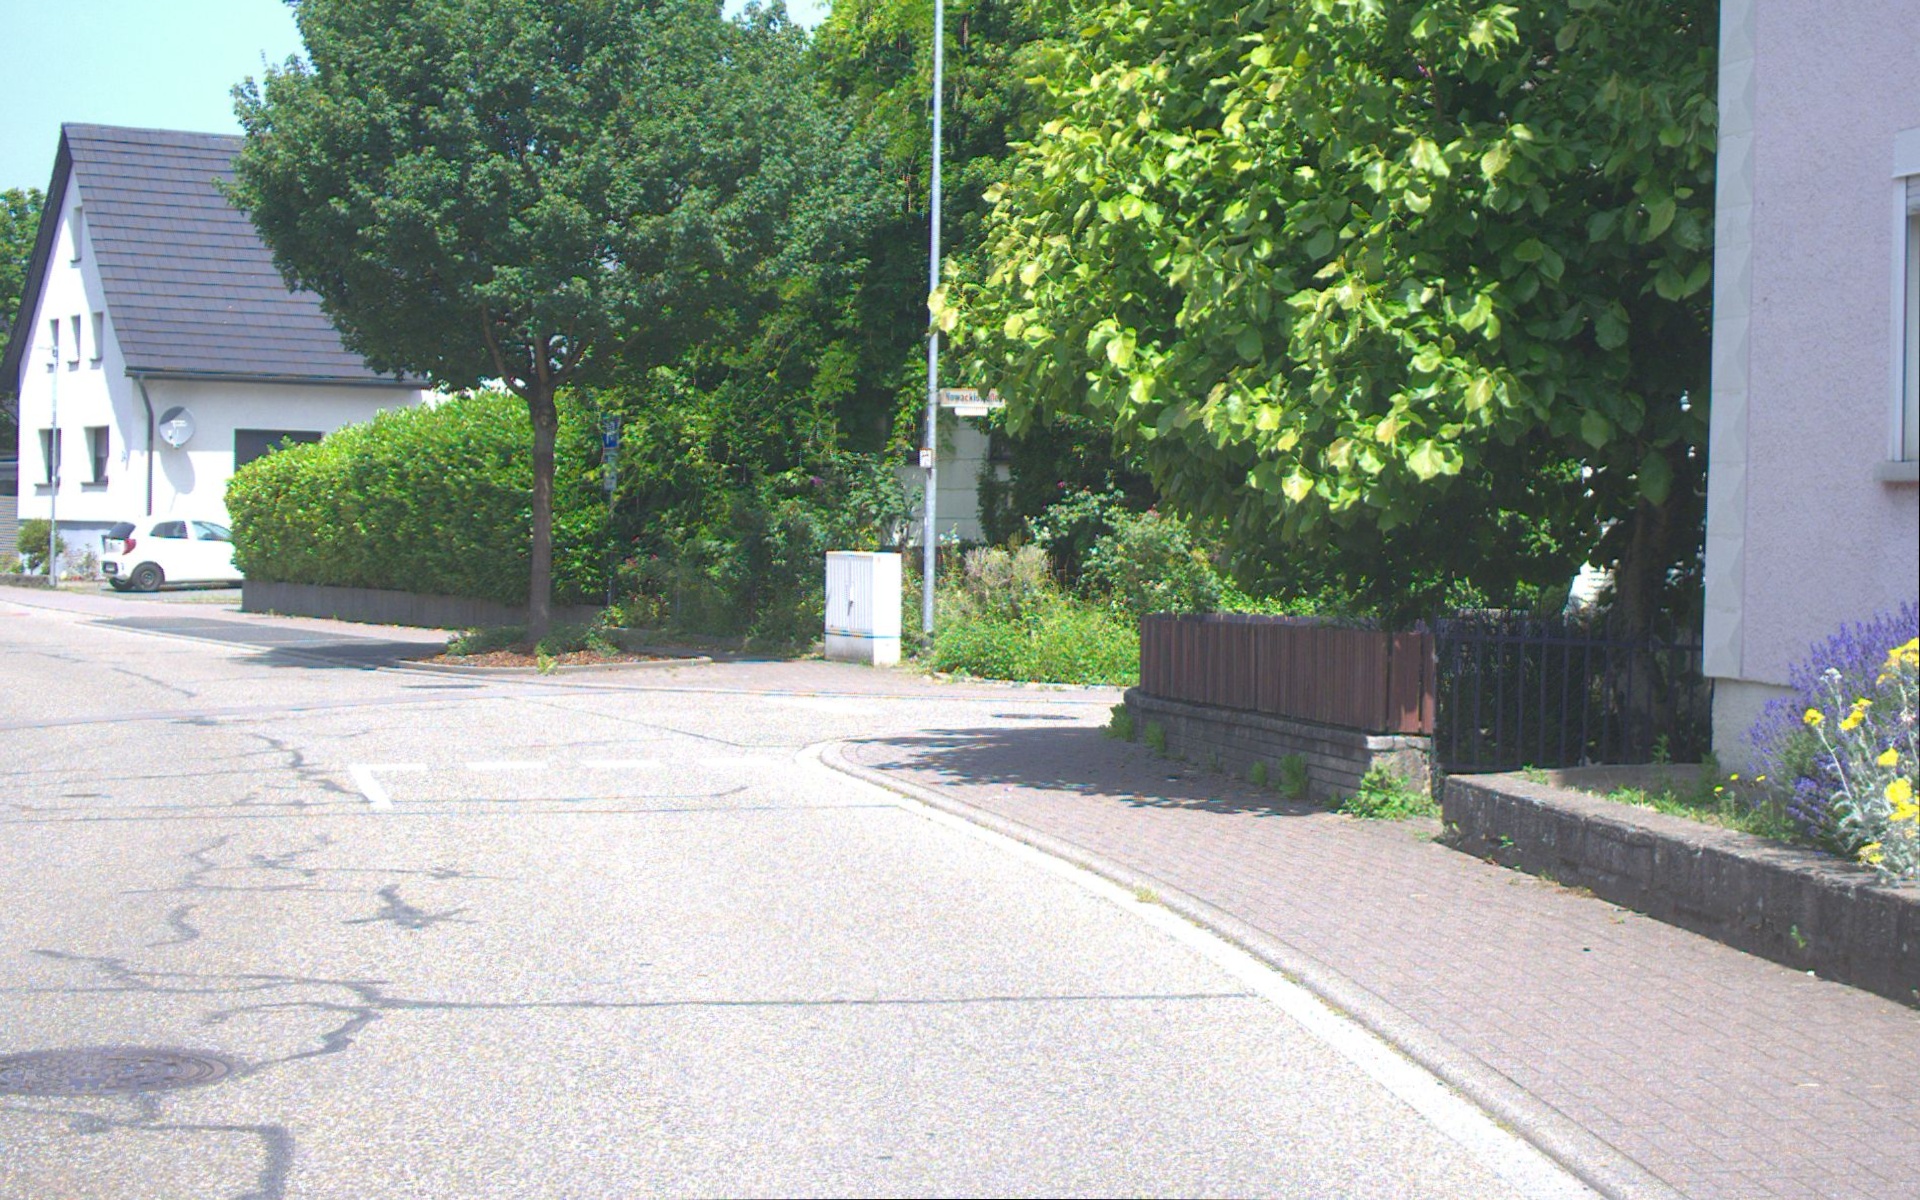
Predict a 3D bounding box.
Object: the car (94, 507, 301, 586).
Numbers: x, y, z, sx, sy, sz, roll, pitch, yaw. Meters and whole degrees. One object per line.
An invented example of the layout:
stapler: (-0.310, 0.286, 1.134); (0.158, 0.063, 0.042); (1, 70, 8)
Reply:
car: (-15.256, -1.091, 68.823); (3.657, 1.469, 1.766); (-2, 3, -32)
